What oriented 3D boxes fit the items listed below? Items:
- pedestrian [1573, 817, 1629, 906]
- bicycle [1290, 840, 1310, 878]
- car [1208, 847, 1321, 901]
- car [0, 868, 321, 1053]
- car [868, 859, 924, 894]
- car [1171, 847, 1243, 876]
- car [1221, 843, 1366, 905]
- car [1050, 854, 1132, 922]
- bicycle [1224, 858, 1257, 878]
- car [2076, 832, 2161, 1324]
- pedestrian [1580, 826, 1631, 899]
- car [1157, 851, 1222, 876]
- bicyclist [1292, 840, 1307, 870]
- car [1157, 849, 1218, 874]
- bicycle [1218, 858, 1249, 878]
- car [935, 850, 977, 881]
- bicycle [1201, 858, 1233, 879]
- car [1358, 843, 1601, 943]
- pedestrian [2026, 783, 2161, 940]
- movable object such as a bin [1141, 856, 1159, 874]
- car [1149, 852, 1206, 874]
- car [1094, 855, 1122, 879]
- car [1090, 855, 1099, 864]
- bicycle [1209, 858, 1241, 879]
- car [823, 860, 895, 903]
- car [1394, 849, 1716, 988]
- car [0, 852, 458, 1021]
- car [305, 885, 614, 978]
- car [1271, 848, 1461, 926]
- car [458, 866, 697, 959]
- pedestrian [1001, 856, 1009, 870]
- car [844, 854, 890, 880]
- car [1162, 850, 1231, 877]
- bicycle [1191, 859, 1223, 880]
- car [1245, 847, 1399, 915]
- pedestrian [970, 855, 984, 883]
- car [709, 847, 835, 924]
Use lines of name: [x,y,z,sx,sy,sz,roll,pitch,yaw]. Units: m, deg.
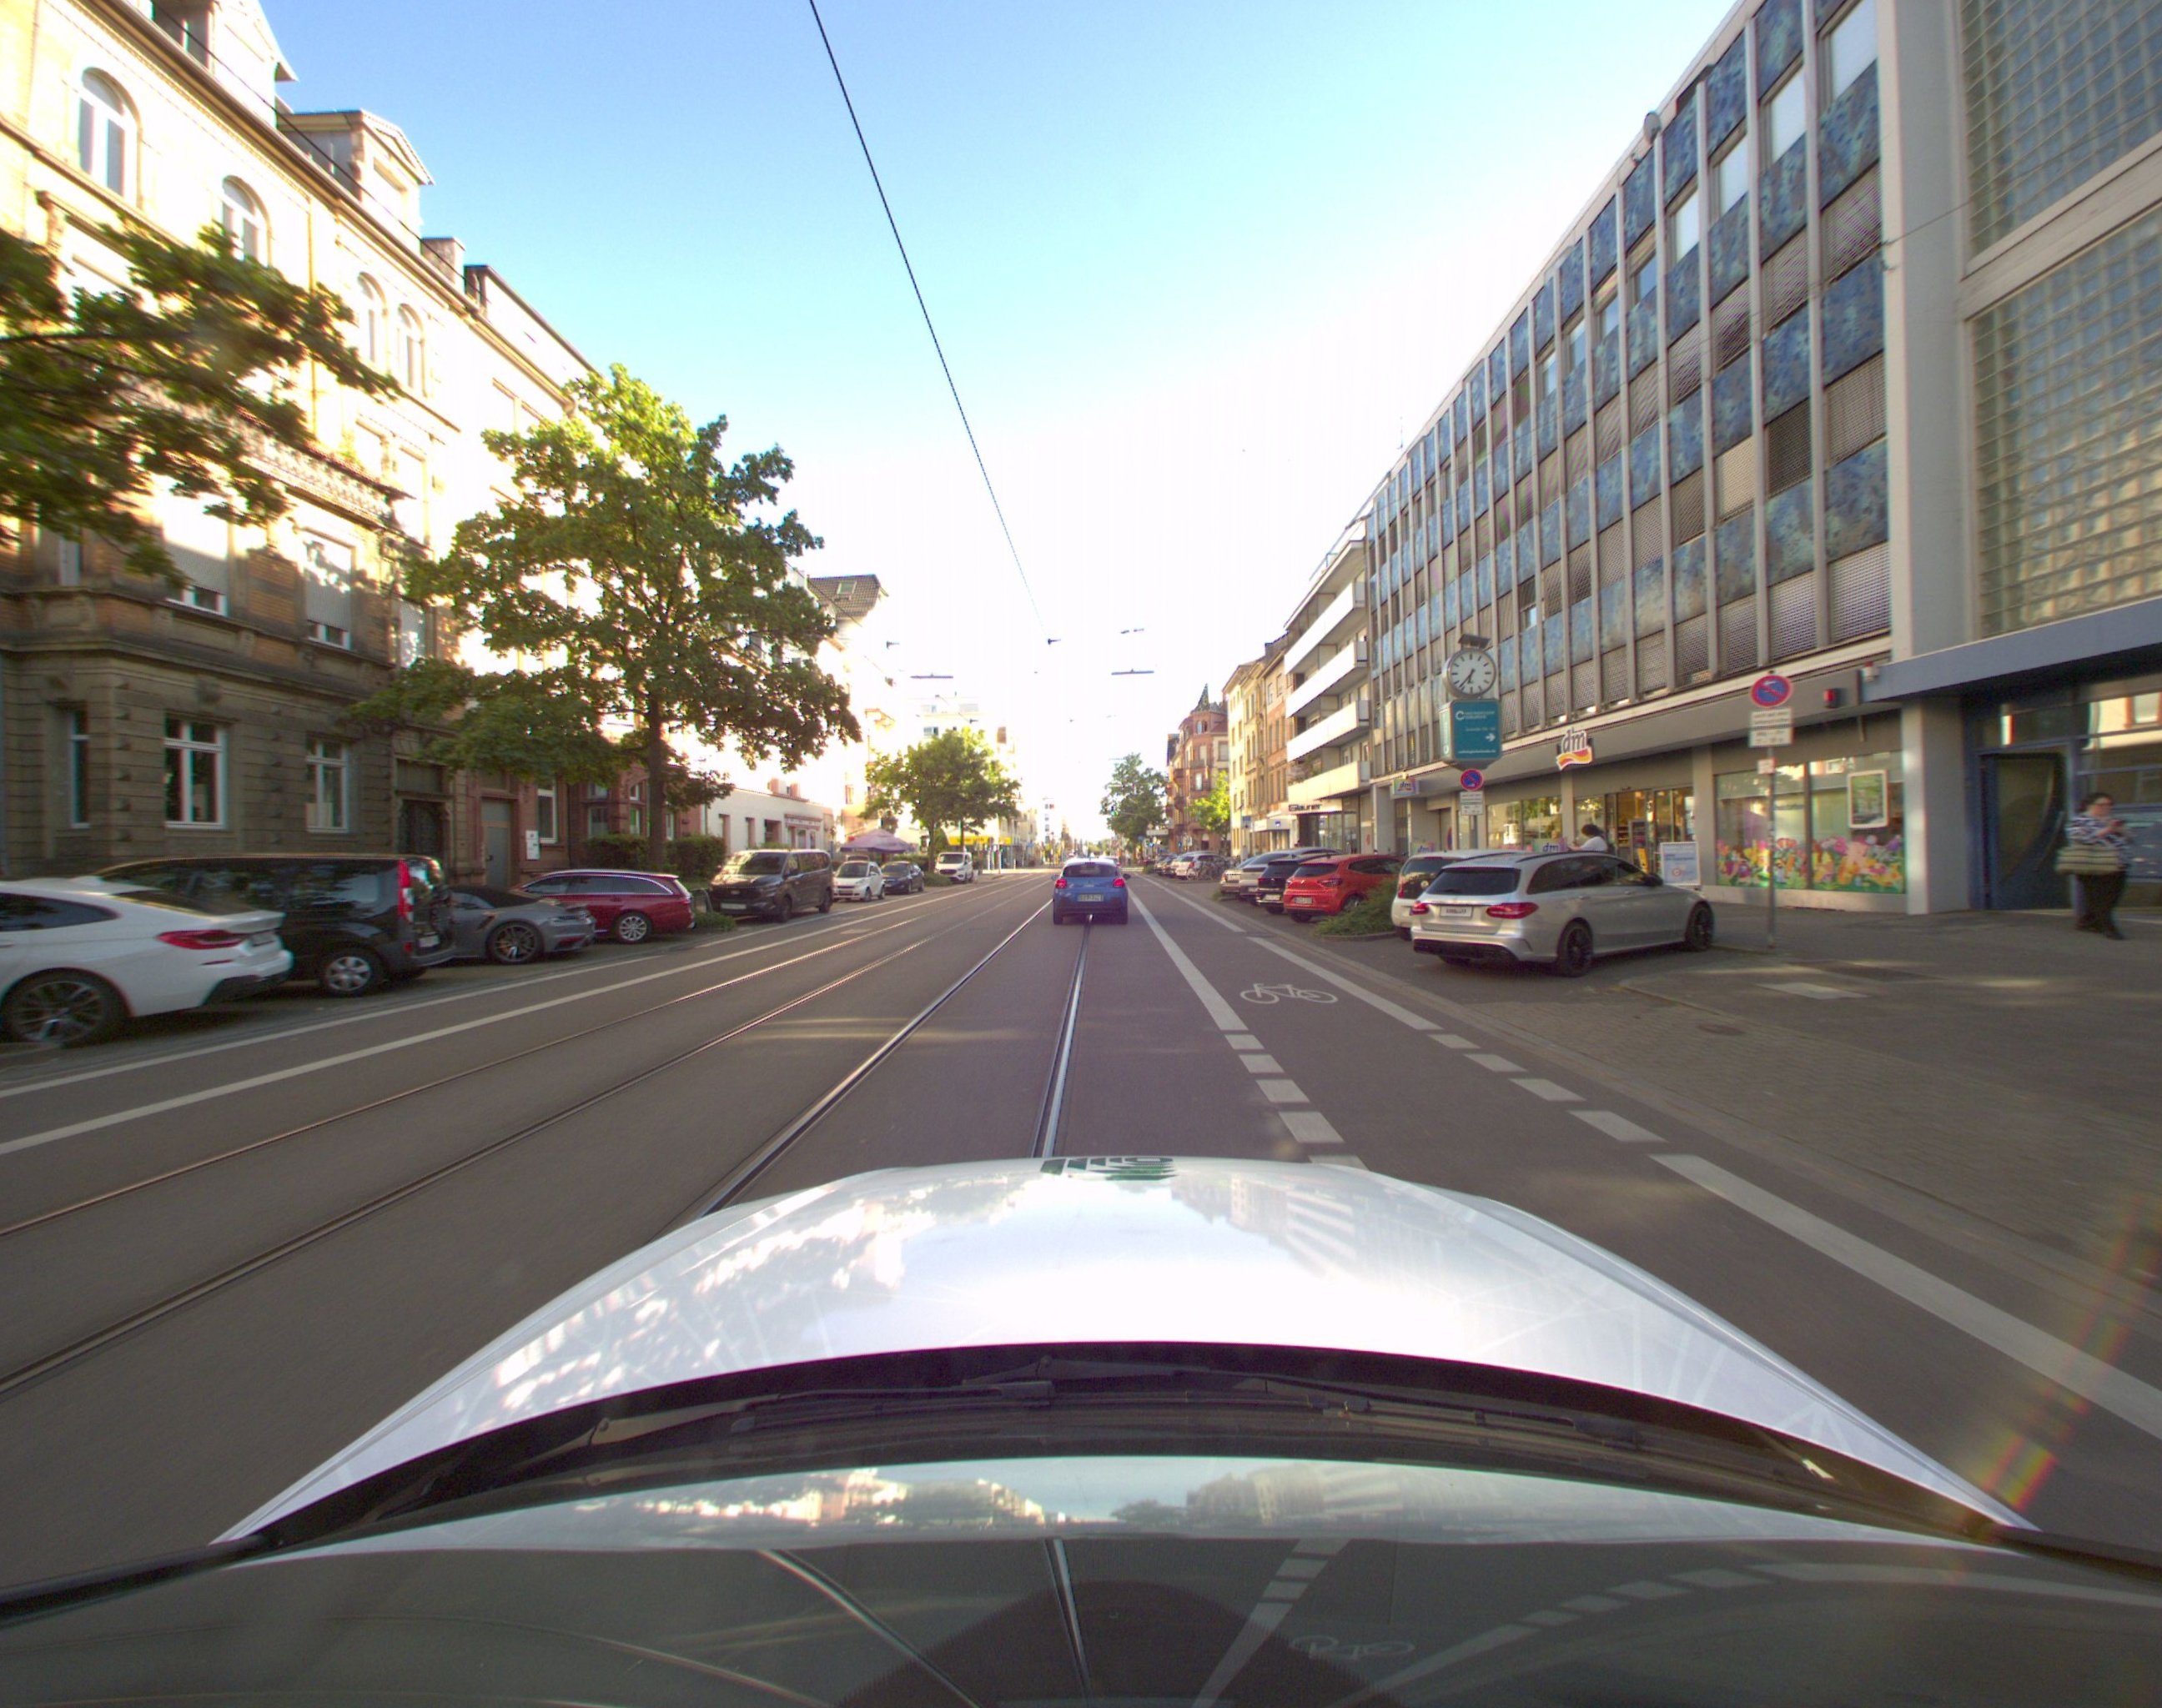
pedestrian: [10.505,0.151,16.479,0.690,1.756,0.678,-1,-1,1]
bicycle: [12.042,0.275,44.890,0.724,2.014,2.363,-1,-1,7]
car: [5.938,0.605,26.225,3.467,1.640,1.666,0,-1,-35]
car: [-10.585,0.972,7.639,4.787,1.618,1.695,0,-1,-31]
car: [-8.405,0.996,37.369,1.742,1.487,4.039,-1,0,-2]
car: [7.116,0.419,45.926,3.674,1.574,1.844,0,-1,-27]
car: [6.128,0.536,23.463,3.743,1.652,2.027,0,-1,-32]
car: [0.248,0.752,19.361,1.756,1.441,3.557,-1,0,1]
bicycle: [8.463,0.753,43.351,0.557,1.048,1.787,0,-1,-37]
car: [4.372,0.706,0.841,1.866,1.596,4.002,-1,0,2]
pedestrian: [11.689,0.186,18.176,0.690,1.588,0.678,-1,-1,1]
car: [6.914,0.590,52.049,3.664,1.574,1.849,0,-1,-18]
bicyclist: [12.049,0.074,44.970,0.728,1.623,0.529,-1,-1,7]
car: [7.231,0.497,55.218,3.664,1.574,1.849,0,-1,-18]
bicycle: [8.004,0.749,42.937,0.471,1.048,1.788,0,-1,-34]
car: [-7.902,0.711,51.809,1.825,1.848,4.215,-1,0,2]
bicycle: [7.022,0.761,42.248,0.557,1.048,1.789,0,-1,-34]
car: [6.741,0.578,13.745,3.796,1.487,1.822,0,-1,-28]
pedestrian: [12.097,0.089,9.740,0.717,1.806,0.727,-1,-1,1]
movable object such as a bin: [5.749,0.878,67.932,1.389,1.483,1.656,-1,-1,1]
car: [6.938,0.634,58.610,3.664,1.534,1.778,0,-1,-18]
car: [1.880,0.863,56.953,1.866,1.596,4.002,-1,0,2]
car: [2.156,0.911,133.895,1.417,1.432,3.140,-1,0,2]
bicycle: [7.534,0.761,42.618,0.557,1.048,1.789,0,-1,-34]
car: [-8.792,1.040,32.560,1.742,1.618,4.408,-1,0,-2]
car: [6.263,0.705,10.631,4.465,1.508,1.522,0,-1,-28]
car: [-10.598,0.907,10.300,4.005,1.817,1.699,0,-1,-24]
car: [-10.071,1.203,13.565,3.815,1.265,1.504,0,-1,-24]
car: [6.190,0.649,17.633,3.743,1.521,1.949,0,-1,-32]
car: [-9.811,1.079,16.212,3.736,1.622,1.777,0,-1,-20]
pedestrian: [-9.719,1.161,103.595,0.942,1.751,0.699,-1,-1,-3]
car: [-12.461,0.756,47.642,1.628,1.469,3.528,-1,0,2]
car: [6.941,0.576,49.055,3.664,1.574,1.849,0,-1,-18]
bicycle: [6.485,0.780,41.900,0.557,1.048,1.789,0,-1,-34]
car: [6.019,0.623,20.285,3.463,1.555,1.806,0,-1,-30]
pedestrian: [-6.477,0.914,50.846,0.732,1.726,0.623,0,-1,-23]
car: [-8.720,0.829,23.528,1.742,1.973,5.237,-1,0,-1]
